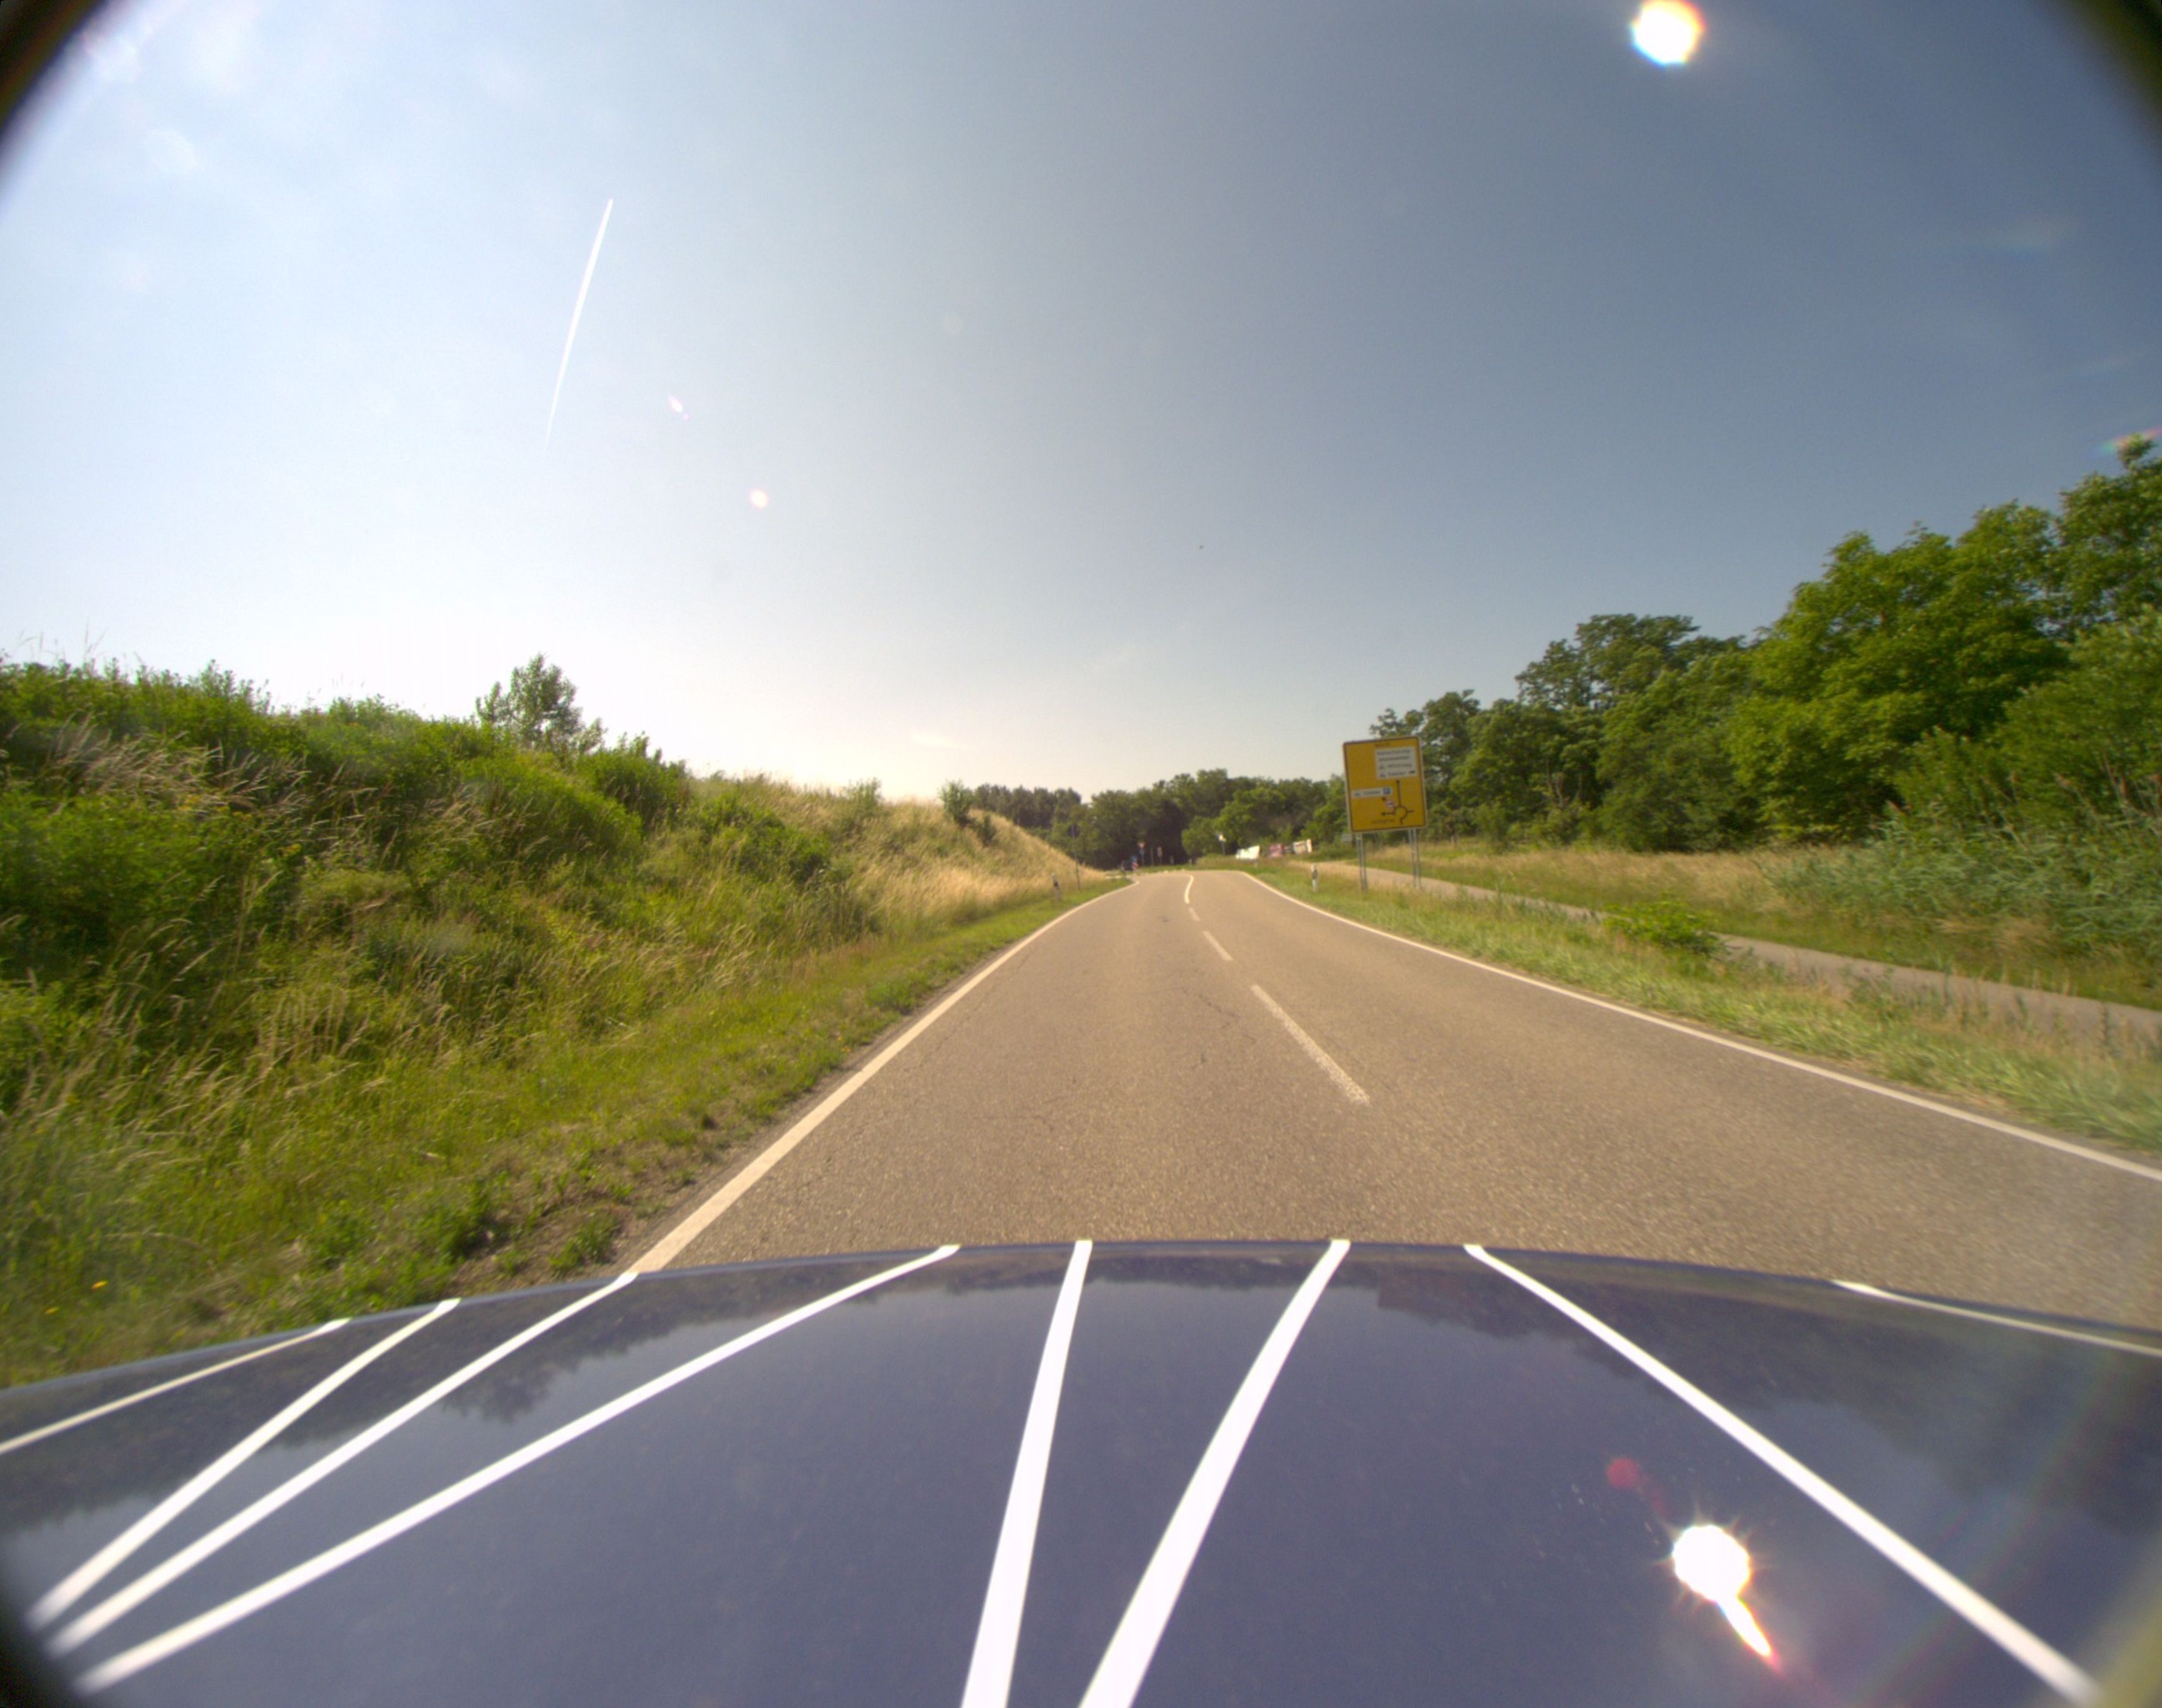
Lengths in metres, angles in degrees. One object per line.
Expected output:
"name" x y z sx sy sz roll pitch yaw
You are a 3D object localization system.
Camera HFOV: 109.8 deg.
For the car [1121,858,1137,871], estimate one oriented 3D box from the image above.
"car" 6.799 1.494 108.189 1.705 1.646 4.354 -5 0 10
